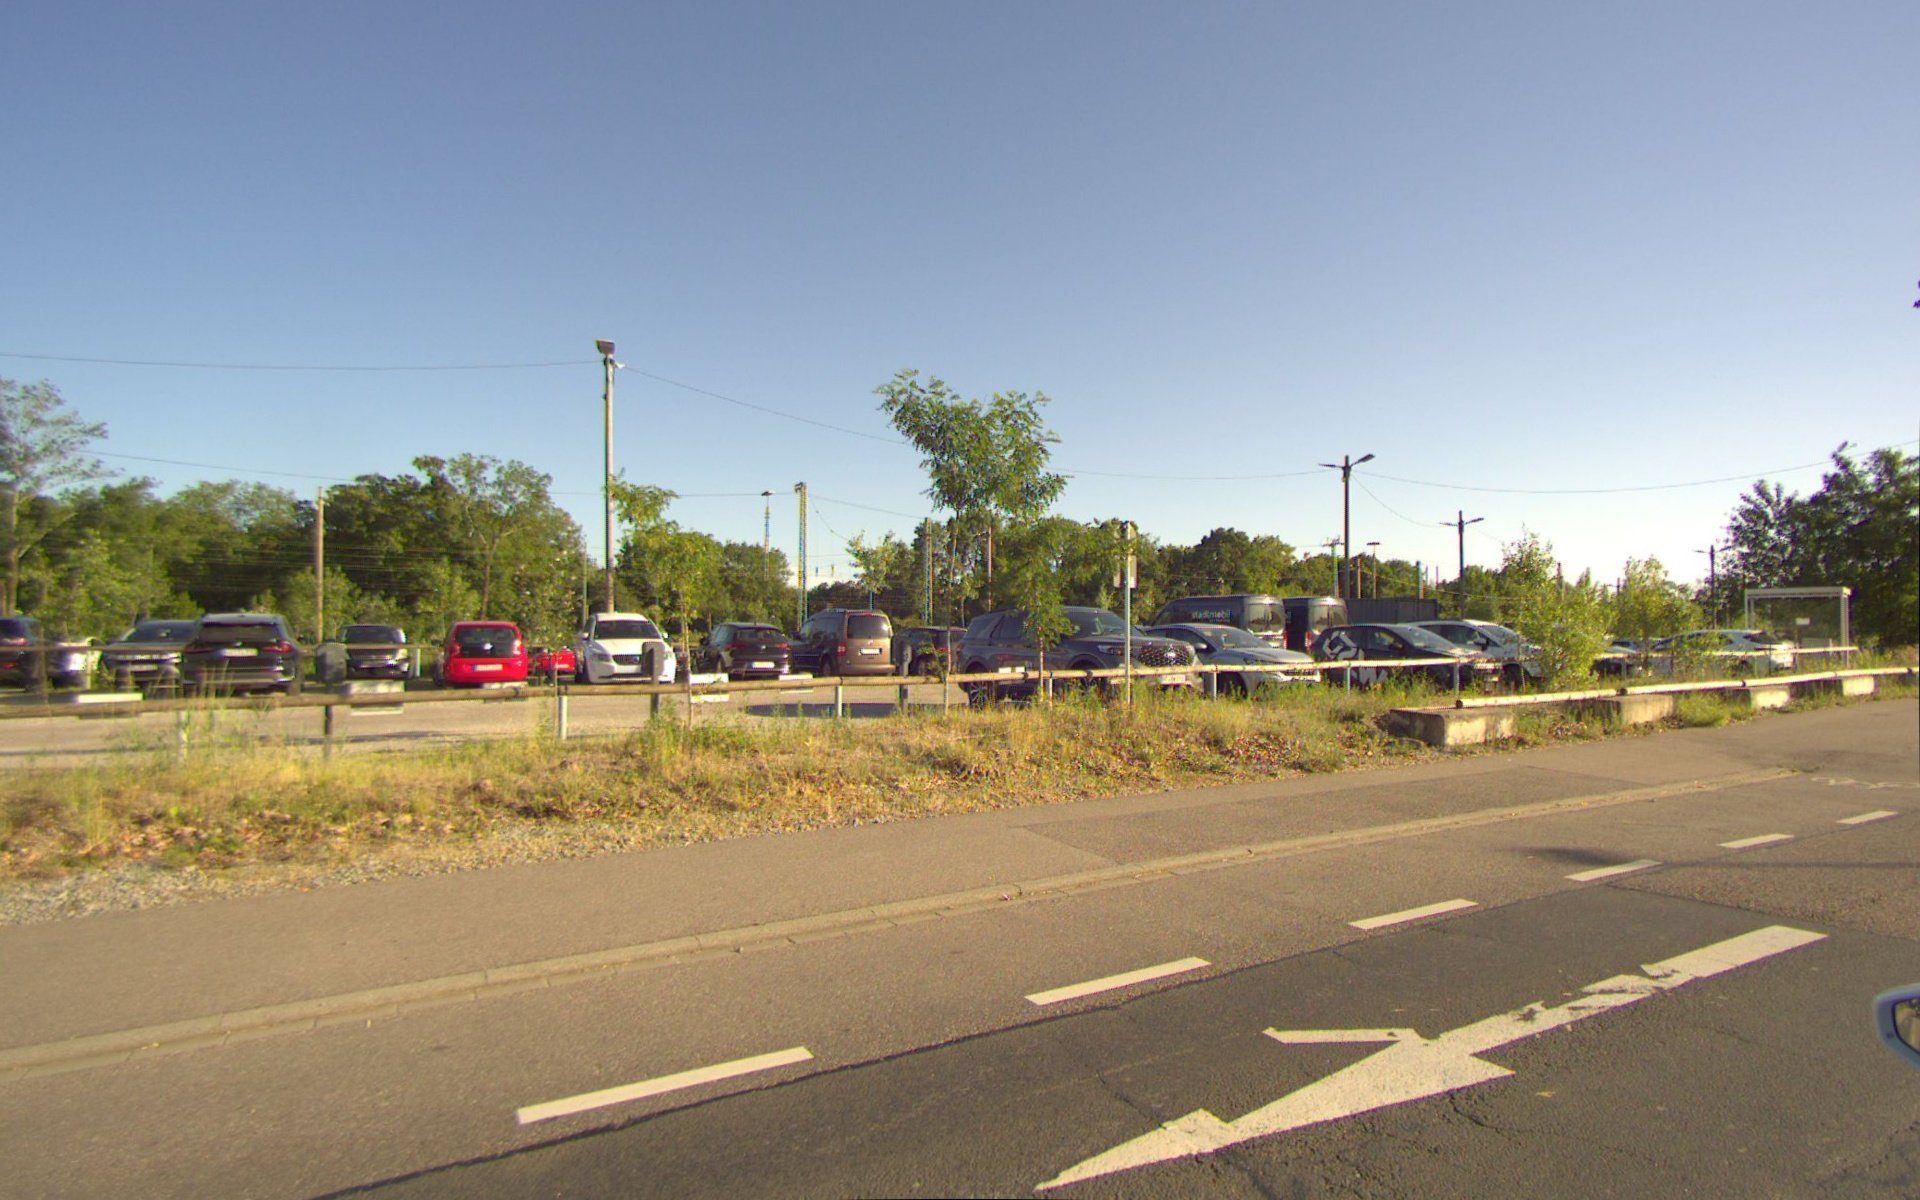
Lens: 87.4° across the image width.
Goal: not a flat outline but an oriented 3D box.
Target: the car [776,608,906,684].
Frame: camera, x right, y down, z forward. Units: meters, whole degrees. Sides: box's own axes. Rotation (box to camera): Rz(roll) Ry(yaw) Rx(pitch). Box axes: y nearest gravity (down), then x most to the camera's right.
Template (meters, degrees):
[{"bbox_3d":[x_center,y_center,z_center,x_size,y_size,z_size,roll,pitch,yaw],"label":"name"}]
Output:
[{"bbox_3d":[-3.217,1.150,26.472,1.856,1.815,4.301,1,-1,-30],"label":"car"}]

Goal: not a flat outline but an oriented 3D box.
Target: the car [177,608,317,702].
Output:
[{"bbox_3d":[-13.694,1.000,19.506,1.856,1.625,3.864,1,-1,-30],"label":"car"}]

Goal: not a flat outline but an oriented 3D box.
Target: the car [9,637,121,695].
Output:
[{"bbox_3d":[-26.780,1.920,30.170,1.733,1.574,3.705,1,-1,-30],"label":"car"}]

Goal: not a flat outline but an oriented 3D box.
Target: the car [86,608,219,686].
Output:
[{"bbox_3d":[-18.339,1.015,22.994,1.786,1.625,3.864,1,-1,-30],"label":"car"}]

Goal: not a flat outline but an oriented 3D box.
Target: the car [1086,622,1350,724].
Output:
[{"bbox_3d":[4.443,1.188,18.051,1.977,1.578,4.572,1,-1,-30],"label":"car"}]

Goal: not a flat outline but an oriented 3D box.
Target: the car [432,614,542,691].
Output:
[{"bbox_3d":[-10.533,1.089,22.230,1.856,1.540,3.864,1,-1,-30],"label":"car"}]

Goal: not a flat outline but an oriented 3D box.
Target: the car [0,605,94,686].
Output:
[{"bbox_3d":[-20.468,0.941,21.733,1.856,1.625,3.865,1,-1,-30],"label":"car"}]

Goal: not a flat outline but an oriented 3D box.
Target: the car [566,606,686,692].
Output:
[{"bbox_3d":[-7.773,1.065,23.086,2.031,1.764,4.565,1,-1,-26],"label":"car"}]

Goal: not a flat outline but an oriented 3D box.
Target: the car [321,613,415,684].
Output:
[{"bbox_3d":[-14.797,1.161,25.281,1.855,1.625,3.867,1,-1,-29],"label":"car"}]

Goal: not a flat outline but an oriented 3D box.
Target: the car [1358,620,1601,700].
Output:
[{"bbox_3d":[11.366,1.231,22.318,1.856,1.578,4.520,1,-1,-30],"label":"car"}]

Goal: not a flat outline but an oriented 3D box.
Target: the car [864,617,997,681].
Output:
[{"bbox_3d":[-0.912,1.300,27.880,1.856,1.639,4.301,1,-1,-30],"label":"car"}]

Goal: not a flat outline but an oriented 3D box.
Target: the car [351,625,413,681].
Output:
[{"bbox_3d":[-19.899,1.763,34.633,1.733,1.794,3.705,1,-1,-30],"label":"car"}]

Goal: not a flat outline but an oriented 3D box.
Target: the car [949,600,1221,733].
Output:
[{"bbox_3d":[1.858,0.982,16.650,1.977,1.859,4.822,1,-1,-30],"label":"car"}]

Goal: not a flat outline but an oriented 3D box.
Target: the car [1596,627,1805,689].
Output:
[{"bbox_3d":[20.762,1.556,28.368,1.856,1.578,4.404,1,-1,-30],"label":"car"}]

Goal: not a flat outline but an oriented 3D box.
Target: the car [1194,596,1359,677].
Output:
[{"bbox_3d":[10.441,1.168,33.542,2.293,2.492,5.072,1,-1,-30],"label":"car"}]

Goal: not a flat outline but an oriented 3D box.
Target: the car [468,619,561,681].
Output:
[{"bbox_3d":[-11.919,1.269,26.739,1.856,1.540,3.864,1,-1,-30],"label":"car"}]

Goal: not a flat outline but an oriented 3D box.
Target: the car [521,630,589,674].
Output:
[{"bbox_3d":[-15.399,1.935,38.120,1.856,1.540,3.864,1,-1,-30],"label":"car"}]

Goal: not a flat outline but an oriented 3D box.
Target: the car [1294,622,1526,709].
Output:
[{"bbox_3d":[9.108,1.253,20.676,1.856,1.578,4.068,1,-1,-30],"label":"car"}]

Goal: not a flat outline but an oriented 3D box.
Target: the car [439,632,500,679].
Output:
[{"bbox_3d":[-17.503,1.926,35.780,1.733,1.514,3.705,1,-1,-30],"label":"car"}]

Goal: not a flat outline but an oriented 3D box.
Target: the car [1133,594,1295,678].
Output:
[{"bbox_3d":[8.066,1.124,32.382,2.293,2.492,4.902,1,-1,-30],"label":"car"}]

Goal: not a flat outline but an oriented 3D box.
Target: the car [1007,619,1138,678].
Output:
[{"bbox_3d":[3.336,1.417,30.547,1.856,1.639,4.187,1,-1,-30],"label":"car"}]

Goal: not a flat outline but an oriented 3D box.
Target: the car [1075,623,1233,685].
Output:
[{"bbox_3d":[5.896,1.588,31.121,2.142,1.727,4.902,1,-1,-30],"label":"car"}]

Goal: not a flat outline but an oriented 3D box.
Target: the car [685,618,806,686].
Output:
[{"bbox_3d":[-5.440,1.230,25.115,1.856,1.540,3.864,1,-1,-30],"label":"car"}]
